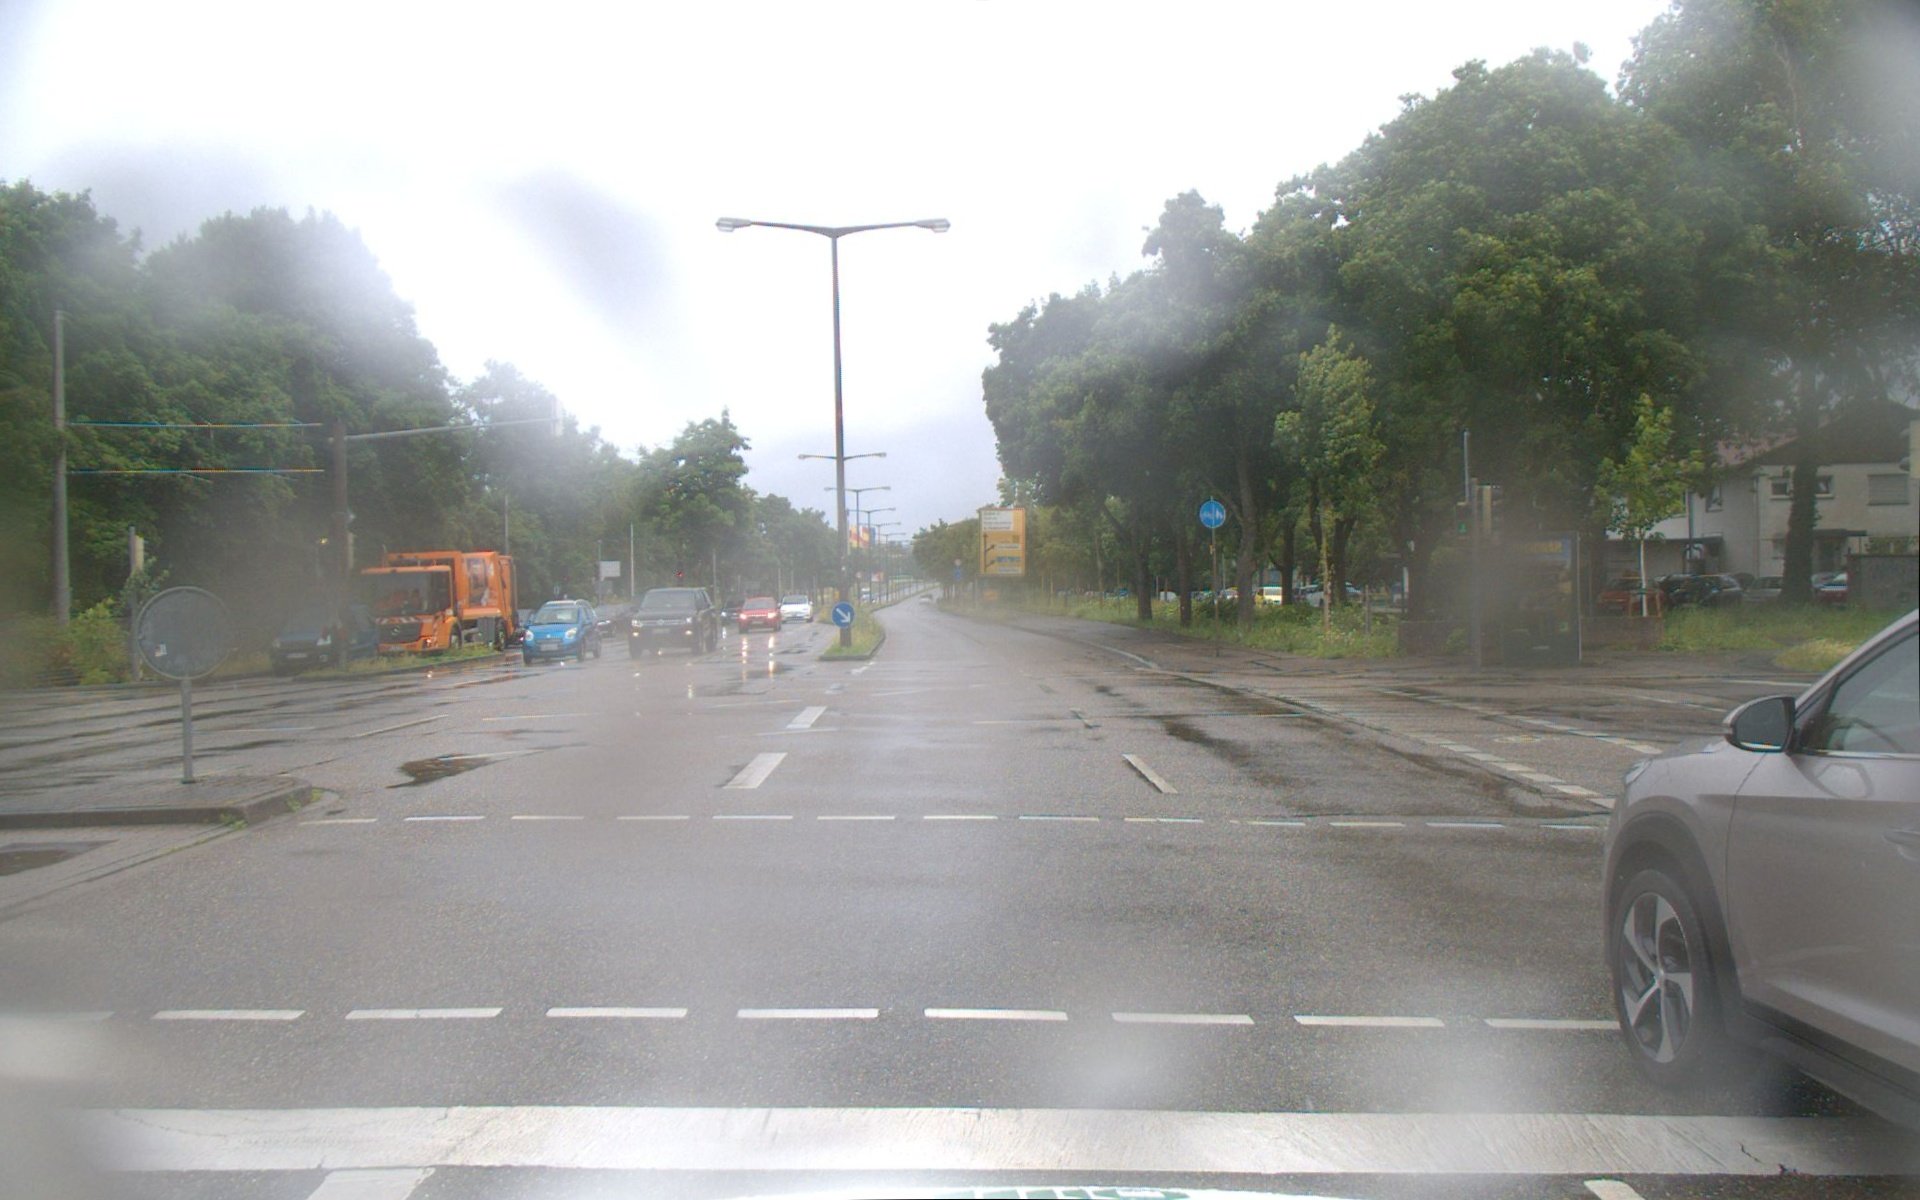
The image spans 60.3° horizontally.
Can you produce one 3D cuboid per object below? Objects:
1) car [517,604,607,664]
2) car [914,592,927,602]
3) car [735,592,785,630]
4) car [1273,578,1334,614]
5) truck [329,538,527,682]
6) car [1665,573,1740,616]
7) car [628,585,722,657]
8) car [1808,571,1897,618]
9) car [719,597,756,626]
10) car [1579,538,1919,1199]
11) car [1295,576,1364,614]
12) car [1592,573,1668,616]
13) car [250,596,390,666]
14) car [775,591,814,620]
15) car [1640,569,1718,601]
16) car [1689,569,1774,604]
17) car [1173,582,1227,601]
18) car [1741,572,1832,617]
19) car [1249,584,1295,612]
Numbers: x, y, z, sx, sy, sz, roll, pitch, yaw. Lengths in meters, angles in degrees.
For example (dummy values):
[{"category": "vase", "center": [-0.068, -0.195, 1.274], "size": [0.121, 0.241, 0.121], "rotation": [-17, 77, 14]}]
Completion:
[{"category": "car", "center": [-10.728, 0.893, 44.781], "size": [1.608, 1.452, 3.997], "rotation": [-3, 0, -3]}, {"category": "car", "center": [-5.973, -0.433, 252.588], "size": [1.868, 1.541, 3.999], "rotation": [-1, 0, -1]}, {"category": "car", "center": [-8.928, 0.506, 74.025], "size": [1.765, 1.597, 4.426], "rotation": [-3, -1, -2]}, {"category": "car", "center": [17.812, -0.187, 85.955], "size": [1.954, 1.747, 4.638], "rotation": [-2, 0, -3]}, {"category": "truck", "center": [-17.136, 0.331, 54.245], "size": [3.316, 4.240, 10.402], "rotation": [1, 0, -2]}, {"category": "car", "center": [26.135, -0.173, 58.172], "size": [1.637, 1.474, 3.736], "rotation": [0, -1, 37]}, {"category": "car", "center": [-7.815, 0.534, 45.764], "size": [1.769, 1.804, 5.087], "rotation": [-3, 0, -2]}, {"category": "car", "center": [29.518, -0.161, 54.648], "size": [3.723, 1.474, 1.577], "rotation": [1, -1, -44]}, {"category": "car", "center": [-13.587, 0.691, 101.075], "size": [1.672, 1.670, 4.330], "rotation": [-3, 0, -1]}, {"category": "car", "center": [3.148, 0.670, 3.820], "size": [1.846, 1.638, 4.195], "rotation": [0, 0, 0]}, {"category": "car", "center": [17.896, -0.211, 80.394], "size": [1.954, 1.747, 4.875], "rotation": [-2, 0, -3]}, {"category": "car", "center": [24.057, -0.188, 59.294], "size": [1.637, 1.474, 3.736], "rotation": [0, -1, 37]}, {"category": "car", "center": [-16.922, 0.801, 43.995], "size": [1.953, 1.739, 4.526], "rotation": [1, 0, 0]}, {"category": "car", "center": [-9.851, 0.300, 98.519], "size": [1.921, 1.645, 4.695], "rotation": [-2, 0, -2]}, {"category": "car", "center": [30.605, -0.621, 70.509], "size": [1.541, 1.339, 3.699], "rotation": [0, 0, -4]}, {"category": "car", "center": [32.997, -0.558, 70.850], "size": [1.552, 1.409, 3.997], "rotation": [1, 0, -4]}, {"category": "car", "center": [21.907, -0.791, 150.989], "size": [4.483, 1.674, 1.997], "rotation": [1, -1, -7]}, {"category": "car", "center": [27.970, -0.169, 55.923], "size": [3.723, 1.474, 1.643], "rotation": [1, -1, -44]}, {"category": "car", "center": [17.654, -0.104, 93.802], "size": [1.605, 1.512, 4.070], "rotation": [1, 0, -3]}]
